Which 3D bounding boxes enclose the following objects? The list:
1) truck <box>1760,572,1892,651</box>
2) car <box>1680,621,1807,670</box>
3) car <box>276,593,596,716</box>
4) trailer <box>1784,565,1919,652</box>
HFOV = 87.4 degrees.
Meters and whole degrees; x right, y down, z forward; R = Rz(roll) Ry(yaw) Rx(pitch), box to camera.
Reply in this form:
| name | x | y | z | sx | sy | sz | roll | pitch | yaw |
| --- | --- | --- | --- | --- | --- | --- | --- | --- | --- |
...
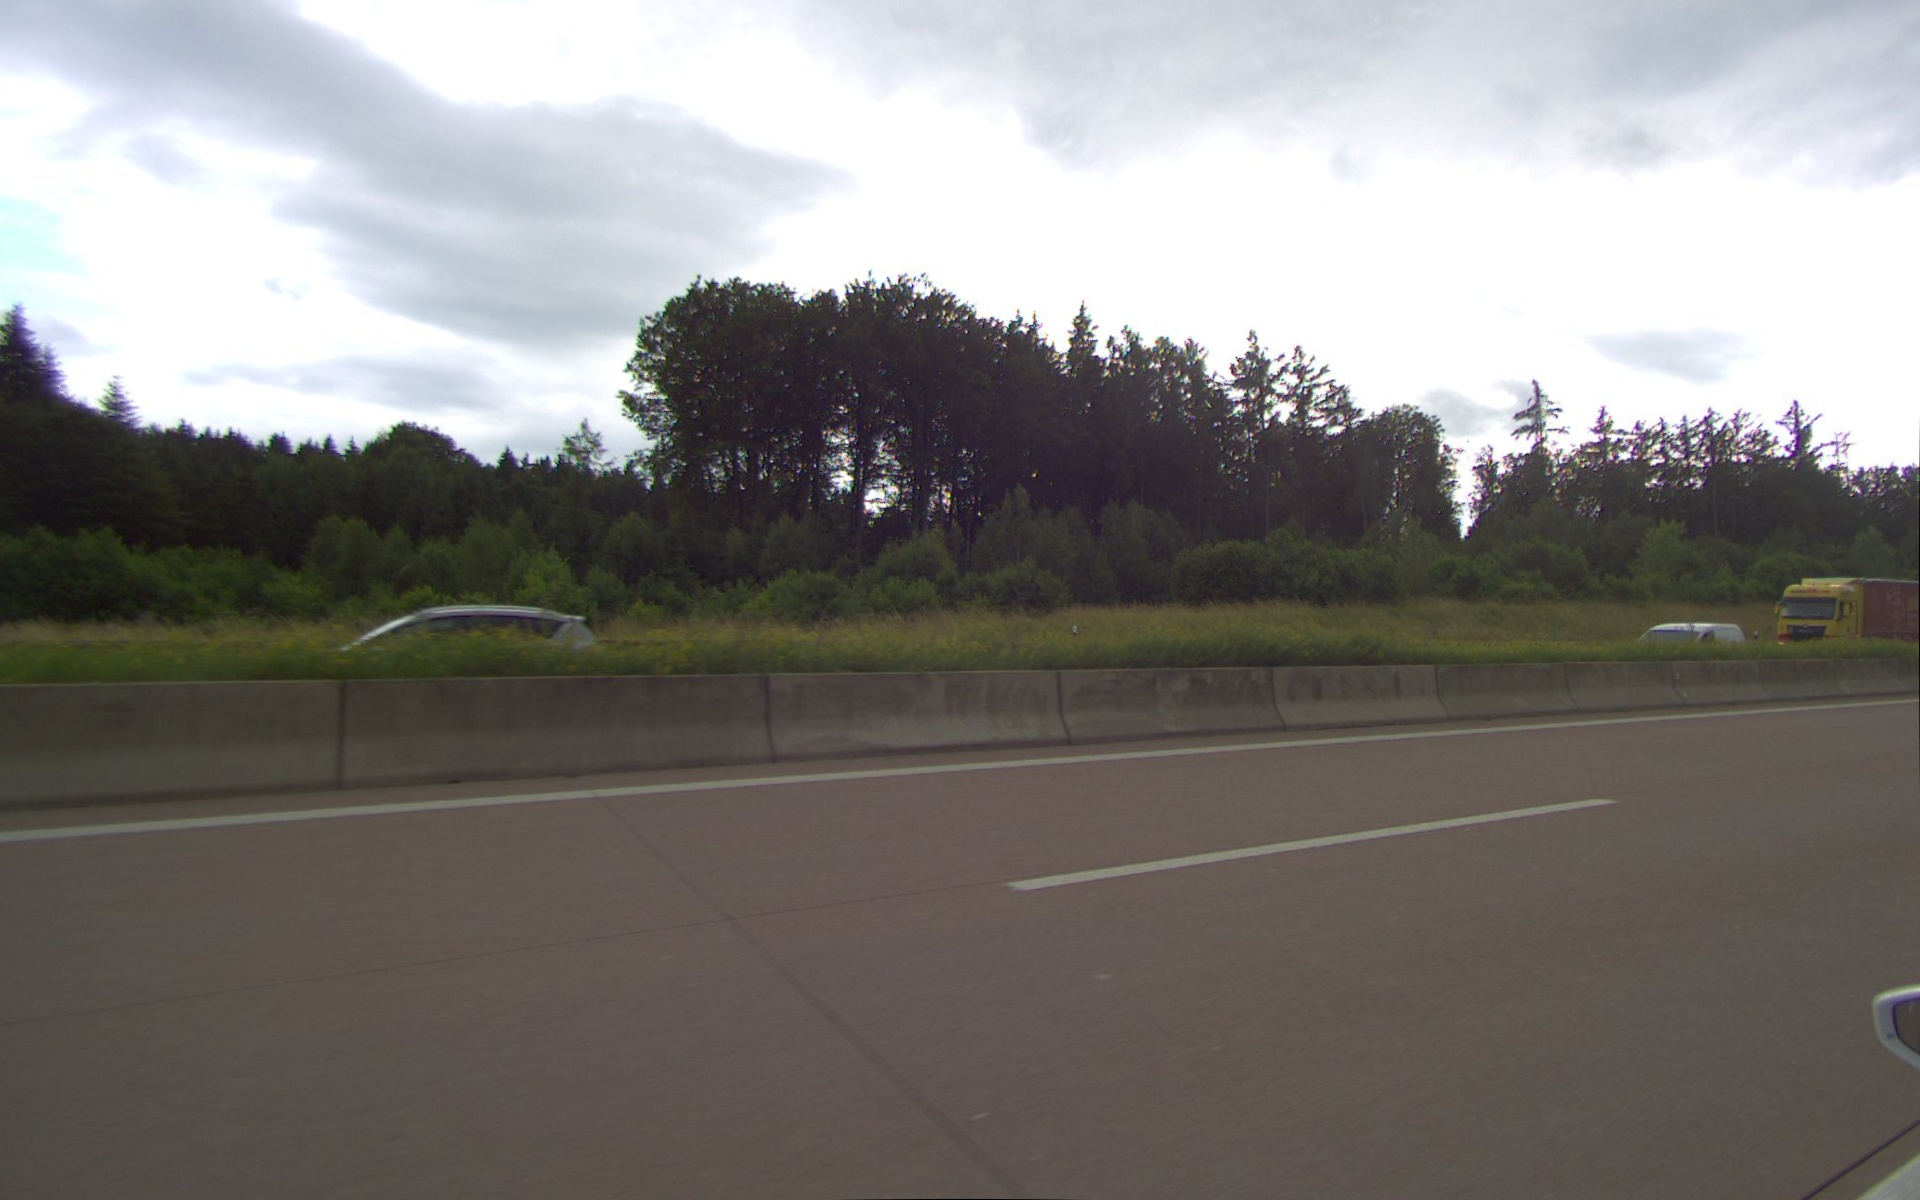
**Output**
| name | x | y | z | sx | sy | sz | roll | pitch | yaw |
| --- | --- | --- | --- | --- | --- | --- | --- | --- | --- |
| truck | 43.409 | 0.594 | 50.337 | 5.982 | 3.629 | 3.000 | 3 | -1 | -28 |
| car | 24.320 | 1.398 | 31.154 | 3.983 | 1.421 | 1.732 | 2 | -1 | -30 |
| car | -6.760 | 0.674 | 13.167 | 3.513 | 1.421 | 1.517 | 2 | -1 | -31 |
| trailer | 49.165 | 0.643 | 53.449 | 14.353 | 4.095 | 3.020 | 3 | -1 | -29 |
